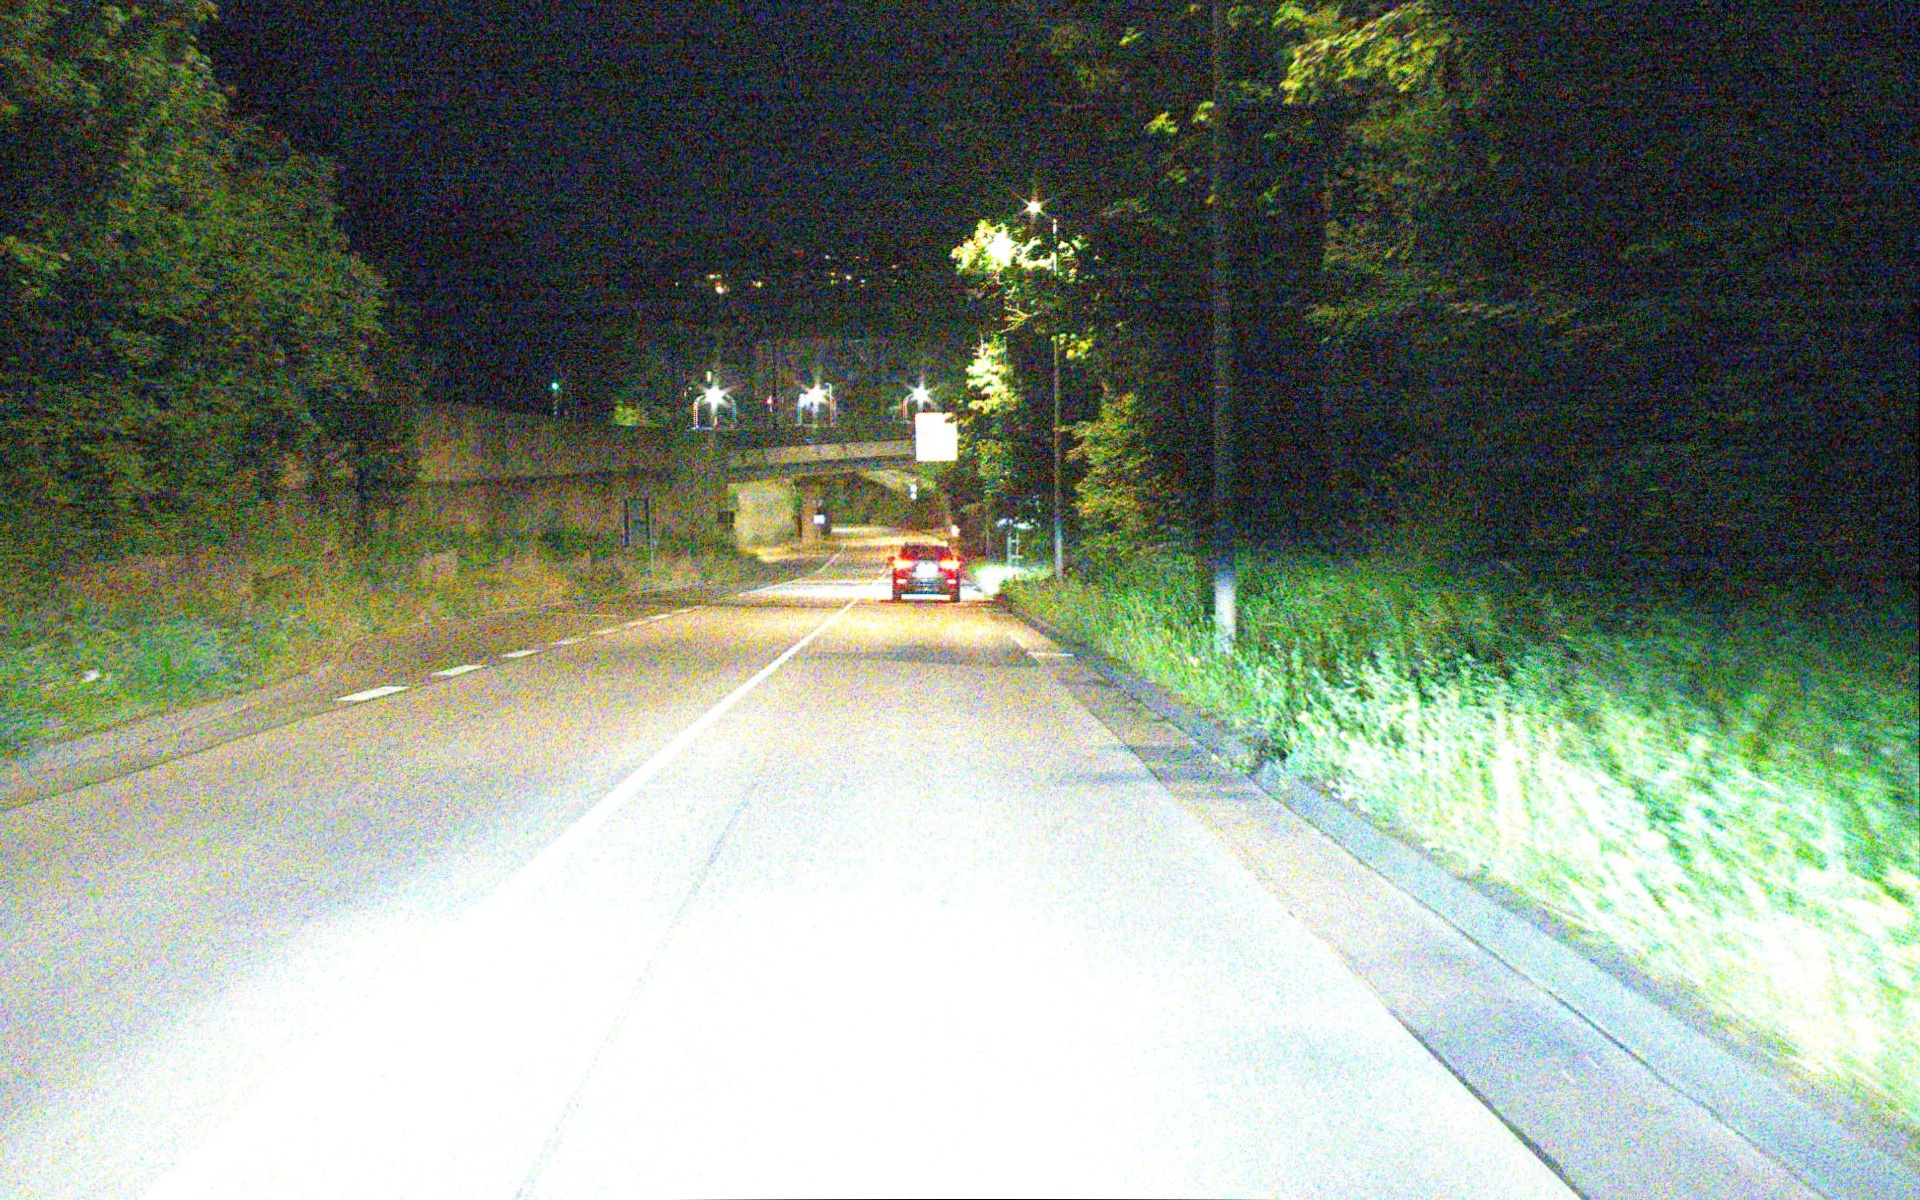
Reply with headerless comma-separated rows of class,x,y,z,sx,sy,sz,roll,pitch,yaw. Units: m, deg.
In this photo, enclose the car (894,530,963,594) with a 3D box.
car,-0.815,-1.025,91.663,1.763,1.636,3.723,0,2,0
